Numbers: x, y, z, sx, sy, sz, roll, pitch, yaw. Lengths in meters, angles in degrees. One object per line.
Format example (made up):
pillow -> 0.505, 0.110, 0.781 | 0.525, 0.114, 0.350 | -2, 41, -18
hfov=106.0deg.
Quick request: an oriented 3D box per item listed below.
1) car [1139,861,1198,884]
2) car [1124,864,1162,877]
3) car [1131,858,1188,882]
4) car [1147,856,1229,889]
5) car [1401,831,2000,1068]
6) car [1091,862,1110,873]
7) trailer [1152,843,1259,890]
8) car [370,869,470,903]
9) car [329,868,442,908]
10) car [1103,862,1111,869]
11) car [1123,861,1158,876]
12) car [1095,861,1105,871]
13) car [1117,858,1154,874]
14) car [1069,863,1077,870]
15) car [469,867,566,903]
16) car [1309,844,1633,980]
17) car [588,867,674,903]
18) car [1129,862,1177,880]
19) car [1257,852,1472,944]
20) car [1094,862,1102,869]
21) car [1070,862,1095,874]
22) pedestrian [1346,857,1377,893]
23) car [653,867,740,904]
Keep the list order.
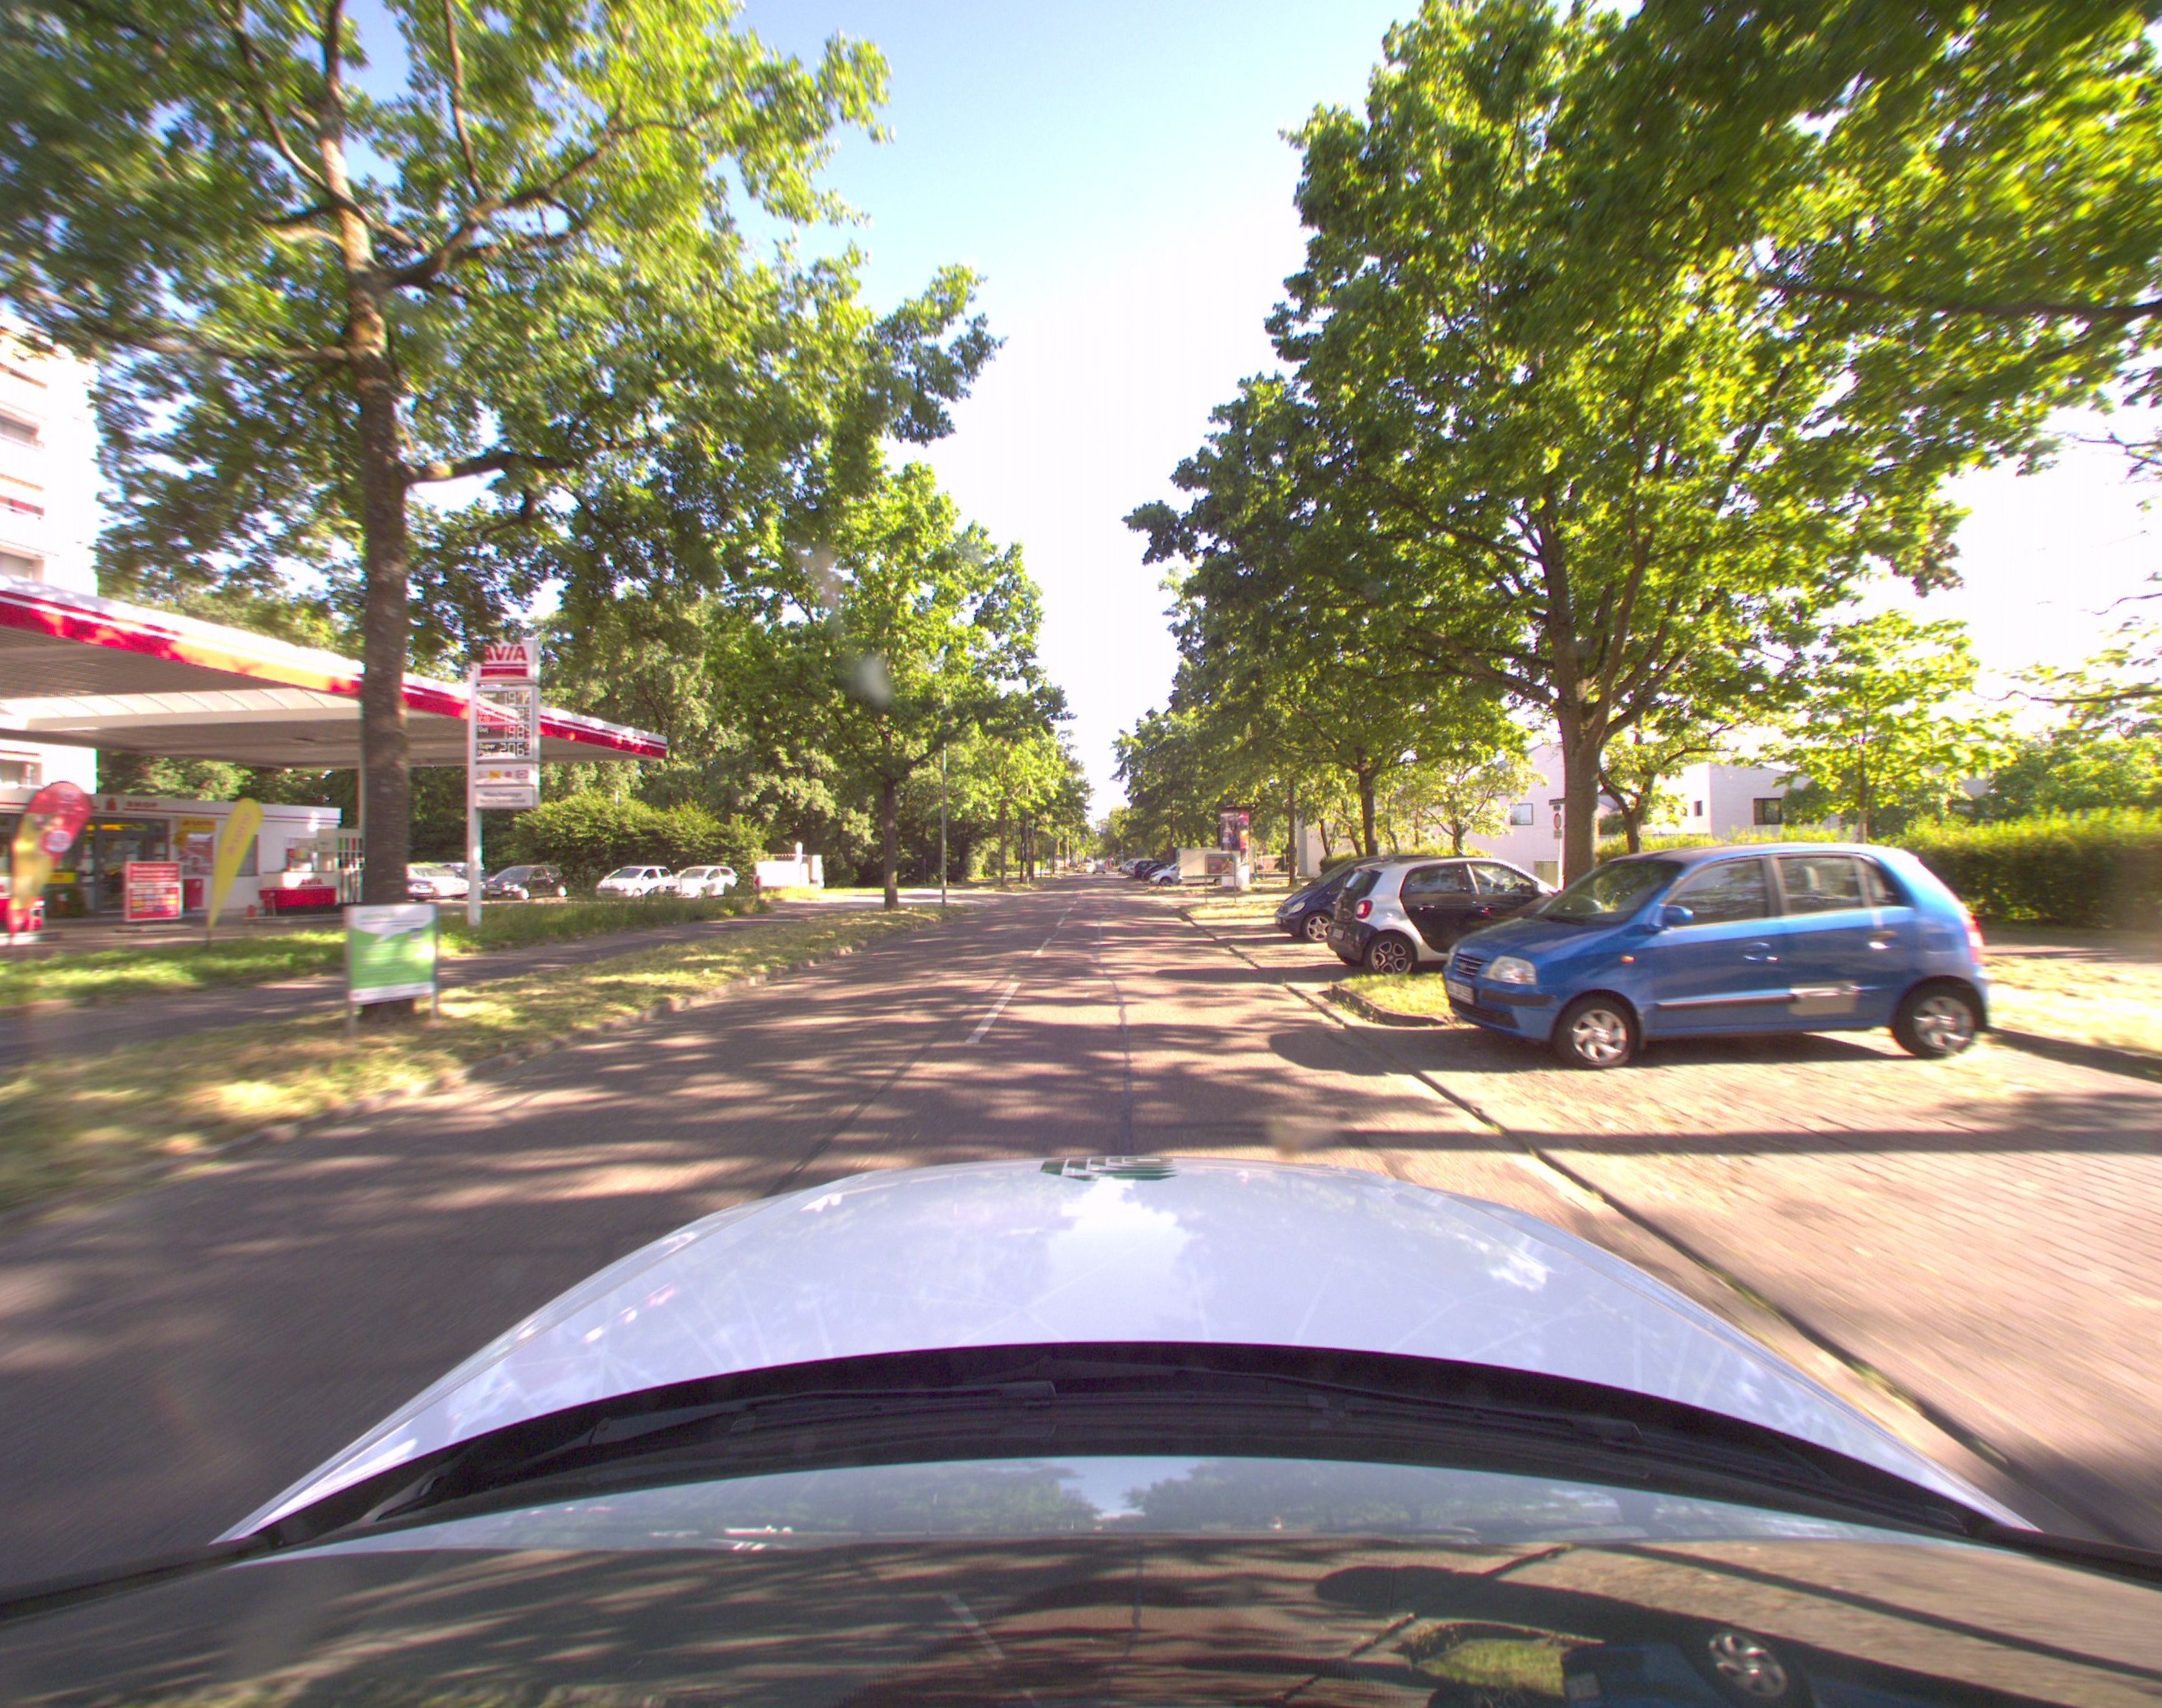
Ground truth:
car -> 6.565, 1.393, 61.488 | 4.229, 1.519, 2.079 | -2, -1, 2
car -> 7.413, 1.927, 97.674 | 4.430, 1.390, 1.911 | -2, -1, 0
car -> 6.550, 1.343, 68.199 | 4.514, 1.801, 1.936 | -2, -1, 1
car -> 6.325, 1.114, 48.668 | 4.624, 1.722, 1.988 | -3, -1, 1
car -> 4.690, 0.696, 6.605 | 3.507, 1.532, 1.666 | -3, -1, 2
car -> 2.796, 1.940, 117.743 | 1.994, 1.484, 3.985 | -1, -1, -10
trailer -> 6.946, 0.724, 45.840 | 5.751, 2.318, 1.687 | -3, -1, 3
car -> -27.569, 1.302, 34.001 | 3.176, 1.317, 1.462 | 1, -1, 9
car -> -26.840, 1.293, 31.473 | 3.176, 1.400, 1.589 | 1, -1, 9
car -> 6.145, 2.645, 192.387 | 1.987, 1.717, 4.000 | 0, -1, 1
car -> 7.647, 1.840, 105.281 | 4.371, 1.651, 1.850 | -3, -1, -1
car -> 3.937, 2.489, 171.522 | 1.987, 1.933, 4.000 | 0, -1, 1
car -> 7.700, 1.748, 115.596 | 5.171, 2.105, 2.082 | -1, -1, -1
car -> -1.931, 2.965, 198.574 | 1.987, 1.717, 4.000 | 0, -1, 1
car -> -23.221, 1.231, 33.673 | 1.414, 1.368, 3.213 | 1, -1, 9
car -> 5.177, 0.749, 11.212 | 3.569, 1.576, 1.787 | -3, -1, 2
car -> -18.723, 1.250, 34.001 | 1.414, 1.368, 3.213 | 1, -1, 9
car -> 7.286, 1.705, 82.462 | 4.653, 1.580, 1.917 | -2, -1, 1
car -> 5.520, 0.835, 16.205 | 3.572, 1.576, 1.857 | -2, -1, 0
car -> 4.647, 3.171, 221.971 | 1.987, 1.969, 4.000 | 0, -1, 1
car -> 0.258, 2.174, 125.817 | 2.008, 1.656, 3.957 | 0, -1, -34
pedestrian -> 11.895, 0.881, 34.527 | 0.874, 1.500, 0.949 | -3, -1, 42
car -> -16.032, 1.261, 34.110 | 1.537, 1.422, 3.495 | 1, -1, 9
